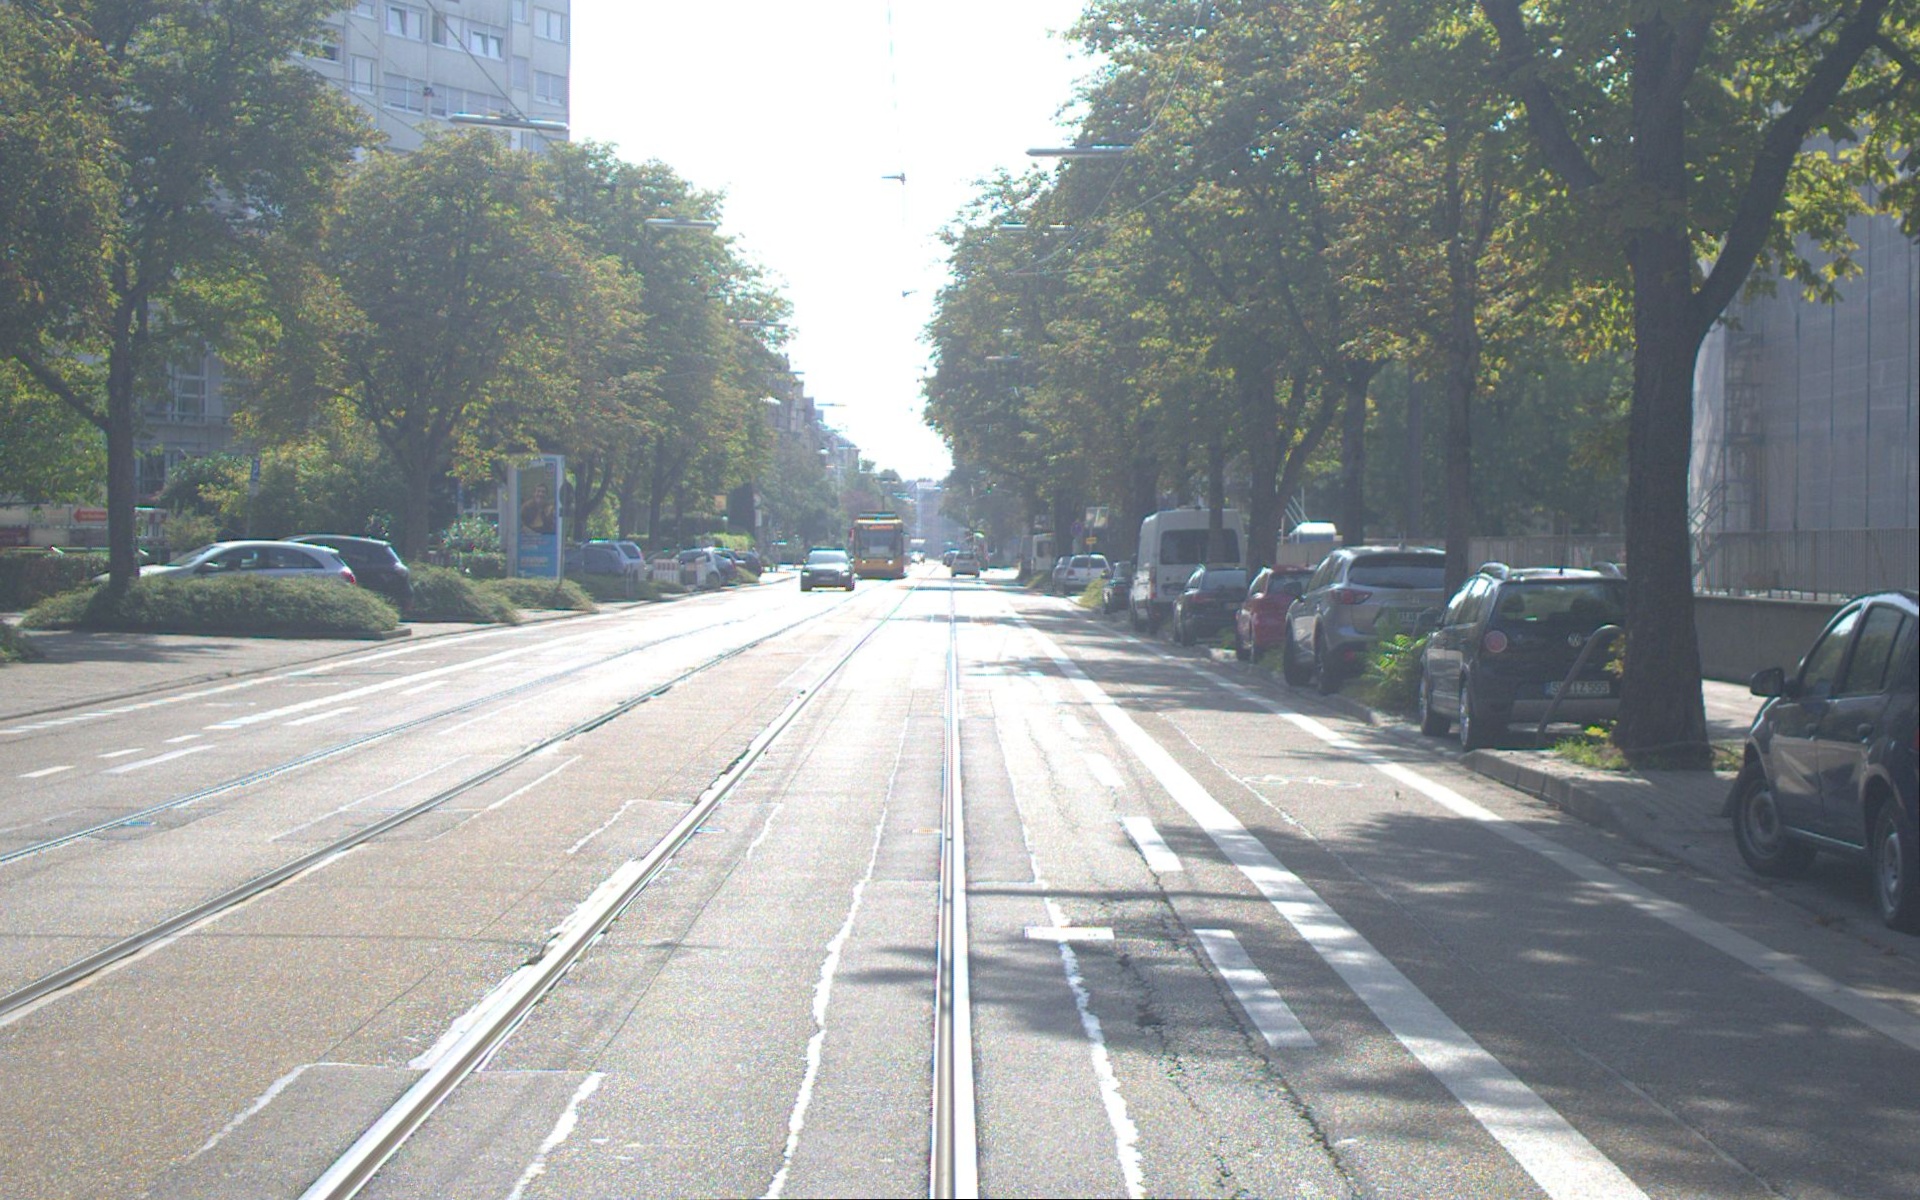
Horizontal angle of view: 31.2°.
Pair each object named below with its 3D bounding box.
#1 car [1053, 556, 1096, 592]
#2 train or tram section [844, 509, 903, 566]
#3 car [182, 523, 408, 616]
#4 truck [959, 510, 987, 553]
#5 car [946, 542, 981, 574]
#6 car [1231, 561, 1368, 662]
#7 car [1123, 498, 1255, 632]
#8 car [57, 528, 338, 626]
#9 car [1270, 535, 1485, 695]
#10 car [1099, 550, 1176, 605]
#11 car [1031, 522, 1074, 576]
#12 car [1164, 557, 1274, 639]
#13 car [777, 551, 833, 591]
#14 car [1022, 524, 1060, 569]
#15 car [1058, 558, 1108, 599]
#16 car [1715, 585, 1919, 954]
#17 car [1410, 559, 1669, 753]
[{"bbox_3d":[4.541,-1.043,136.734,1.595,1.413,3.634,1,1,1],"label":"car"},{"bbox_3d":[-4.512,-3.253,181.820,2.729,2.884,15.455,1,1,0],"label":"train or tram section"},{"bbox_3d":[-11.872,-0.542,61.413,3.633,1.510,1.622,2,1,-25],"label":"car"},{"bbox_3d":[0.959,-5.032,254.427,1.860,3.120,4.353,1,1,-2],"label":"truck"},{"bbox_3d":[0.213,-2.510,204.717,1.993,1.831,4.000,1,1,1],"label":"car"},{"bbox_3d":[4.911,0.134,50.158,1.616,1.409,4.000,0,1,0],"label":"car"},{"bbox_3d":[4.648,-0.730,70.544,2.082,2.544,5.502,-3,1,-1],"label":"car"},{"bbox_3d":[-12.100,-0.363,54.582,3.986,1.474,1.789,0,1,-29],"label":"car"},{"bbox_3d":[4.720,0.125,39.455,1.753,1.685,4.397,1,1,-2],"label":"car"},{"bbox_3d":[4.611,-0.606,89.842,1.753,1.373,4.719,-1,1,0],"label":"car"},{"bbox_3d":[4.435,-2.430,165.021,2.004,2.482,4.477,0,0,1],"label":"car"},{"bbox_3d":[4.490,-0.060,60.213,1.616,1.369,4.827,0,1,1],"label":"car"},{"bbox_3d":[-5.448,-1.025,121.424,1.828,1.371,4.513,1,1,-1],"label":"car"},{"bbox_3d":[4.504,-3.005,191.974,2.004,2.466,4.477,1,1,1],"label":"car"},{"bbox_3d":[4.389,-0.792,123.153,1.689,1.413,3.634,1,1,1],"label":"car"},{"bbox_3d":[4.838,0.702,16.382,1.646,1.506,3.778,-1,1,0],"label":"car"},{"bbox_3d":[4.846,0.422,29.167,1.576,1.479,3.738,-1,1,1],"label":"car"}]
